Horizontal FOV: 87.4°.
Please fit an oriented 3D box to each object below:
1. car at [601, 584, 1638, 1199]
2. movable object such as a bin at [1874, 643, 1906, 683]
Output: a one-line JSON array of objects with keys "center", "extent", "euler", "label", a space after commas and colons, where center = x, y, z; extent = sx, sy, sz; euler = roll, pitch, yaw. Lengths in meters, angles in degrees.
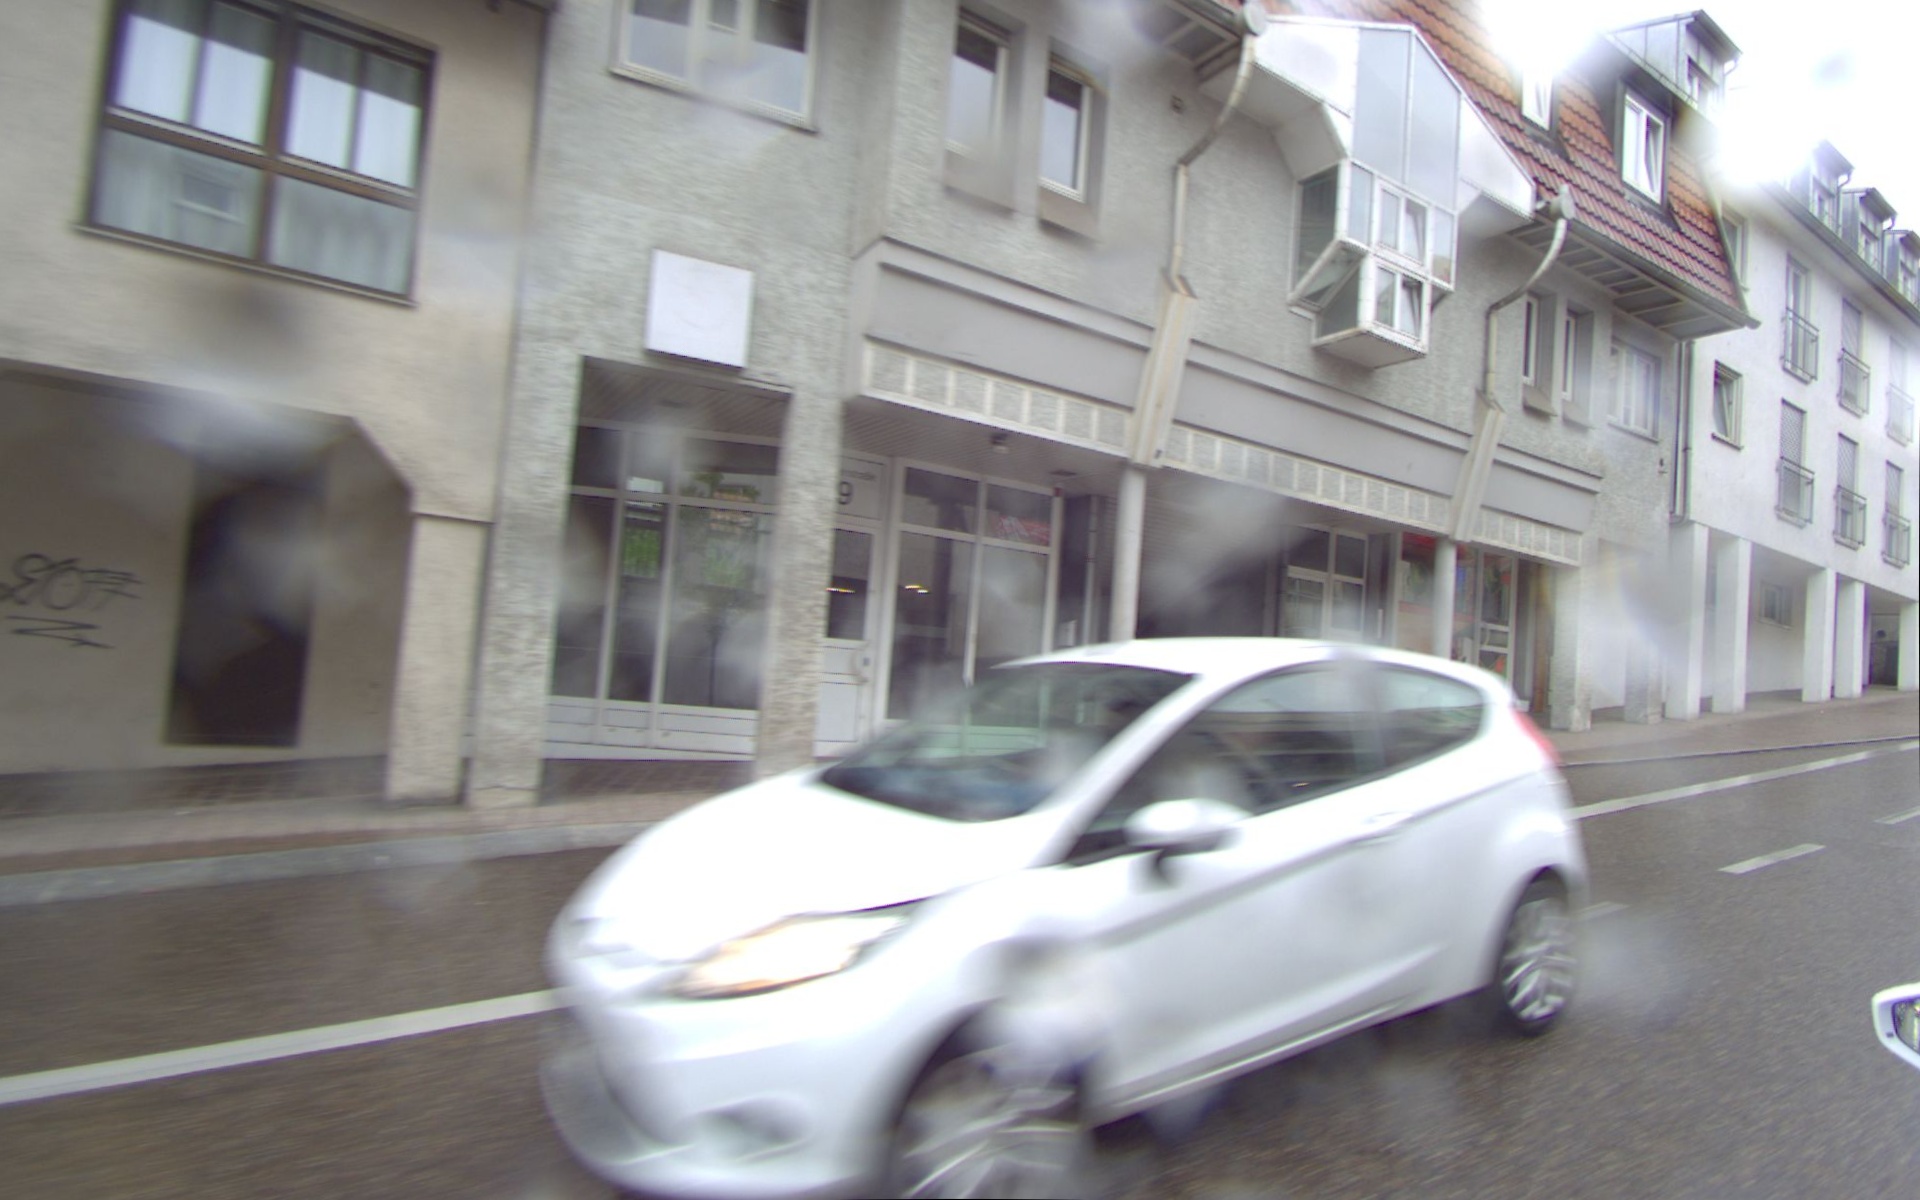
[{"center": [0.726, 0.792, 3.665], "extent": [3.550, 1.530, 1.667], "euler": [2, -2, -33], "label": "car"}, {"center": [24.584, 1.656, 26.552], "extent": [0.579, 1.020, 0.505], "euler": [1, -1, -35], "label": "movable object such as a bin"}]
